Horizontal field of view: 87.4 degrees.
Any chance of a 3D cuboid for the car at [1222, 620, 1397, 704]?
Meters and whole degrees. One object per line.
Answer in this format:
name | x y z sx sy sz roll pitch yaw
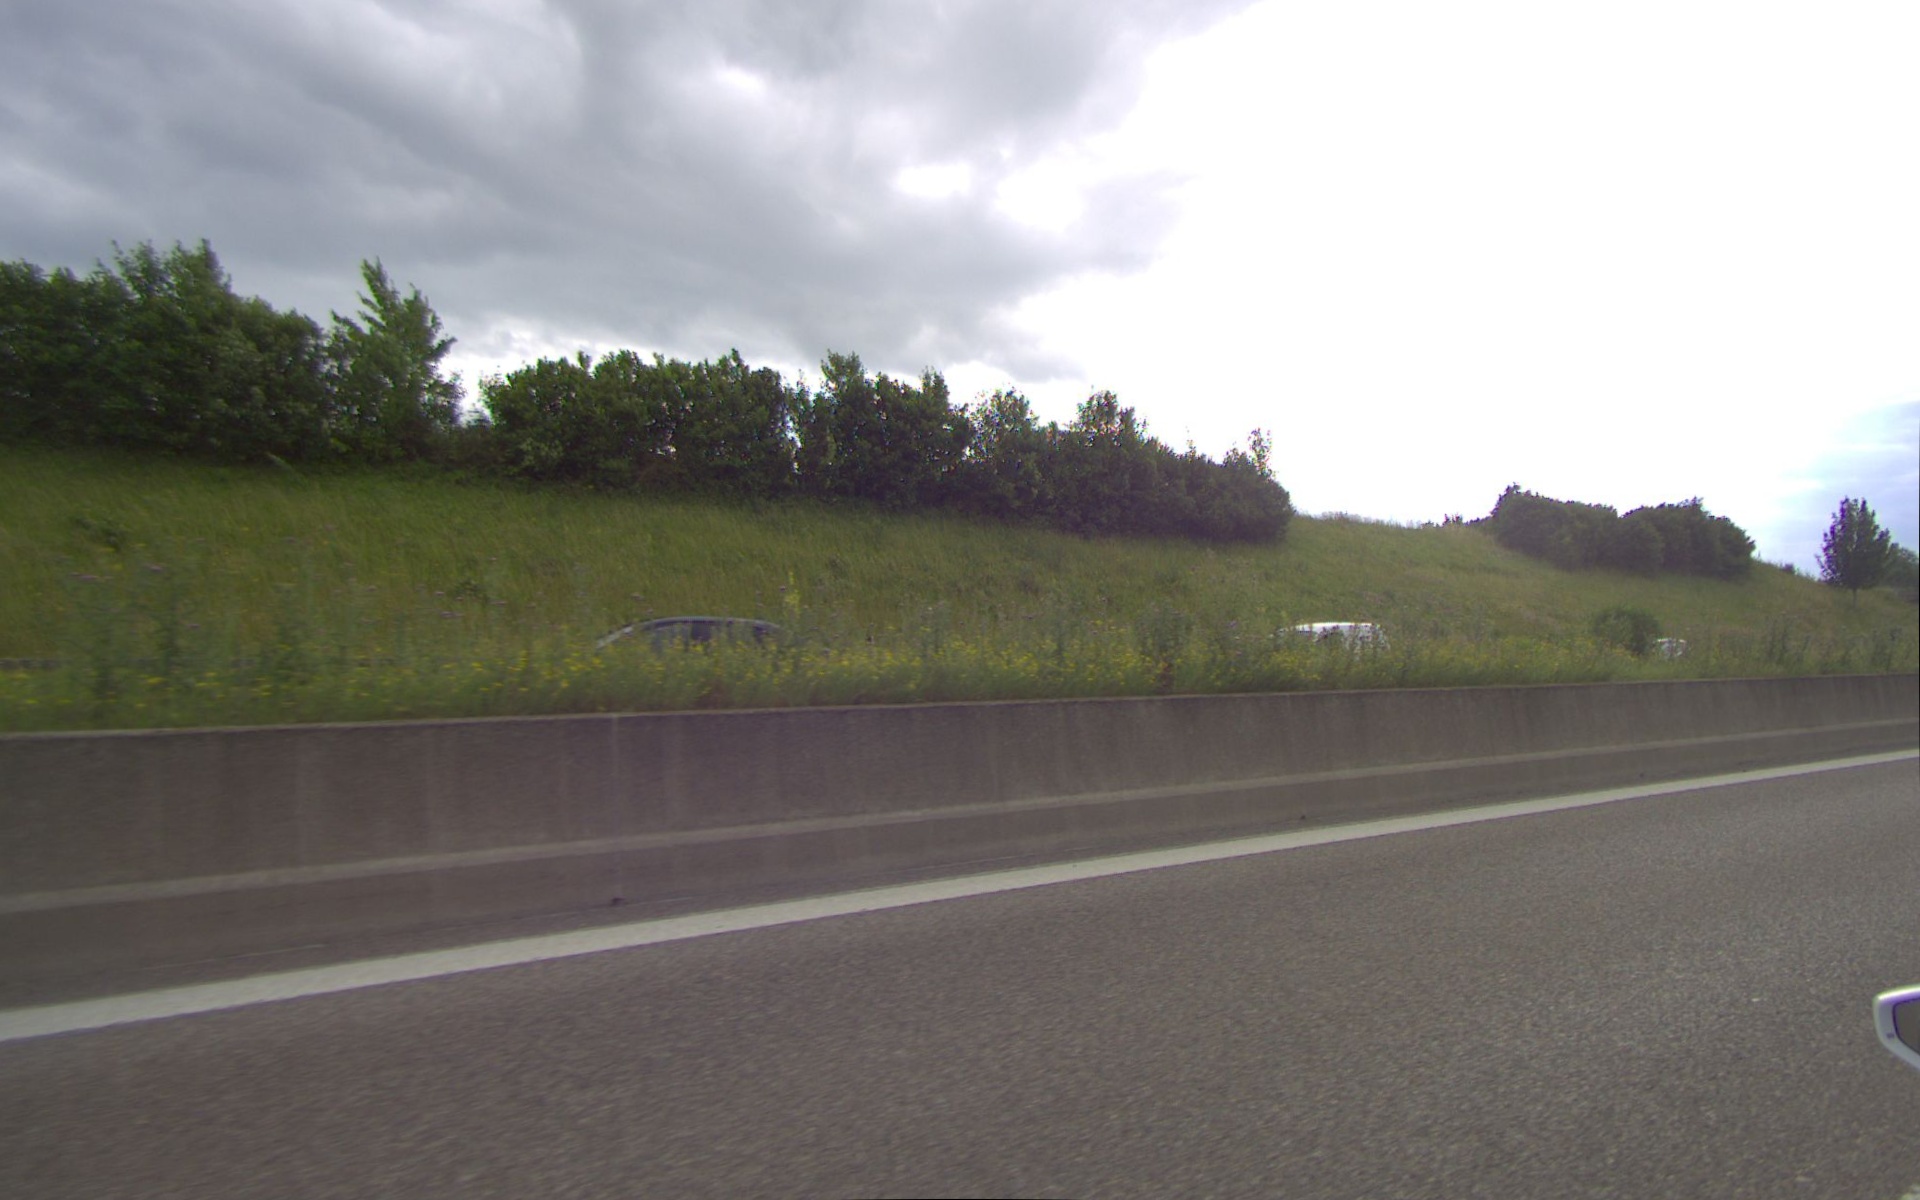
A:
car | 8.092 1.383 23.168 4.073 1.780 1.591 2 -2 -31
